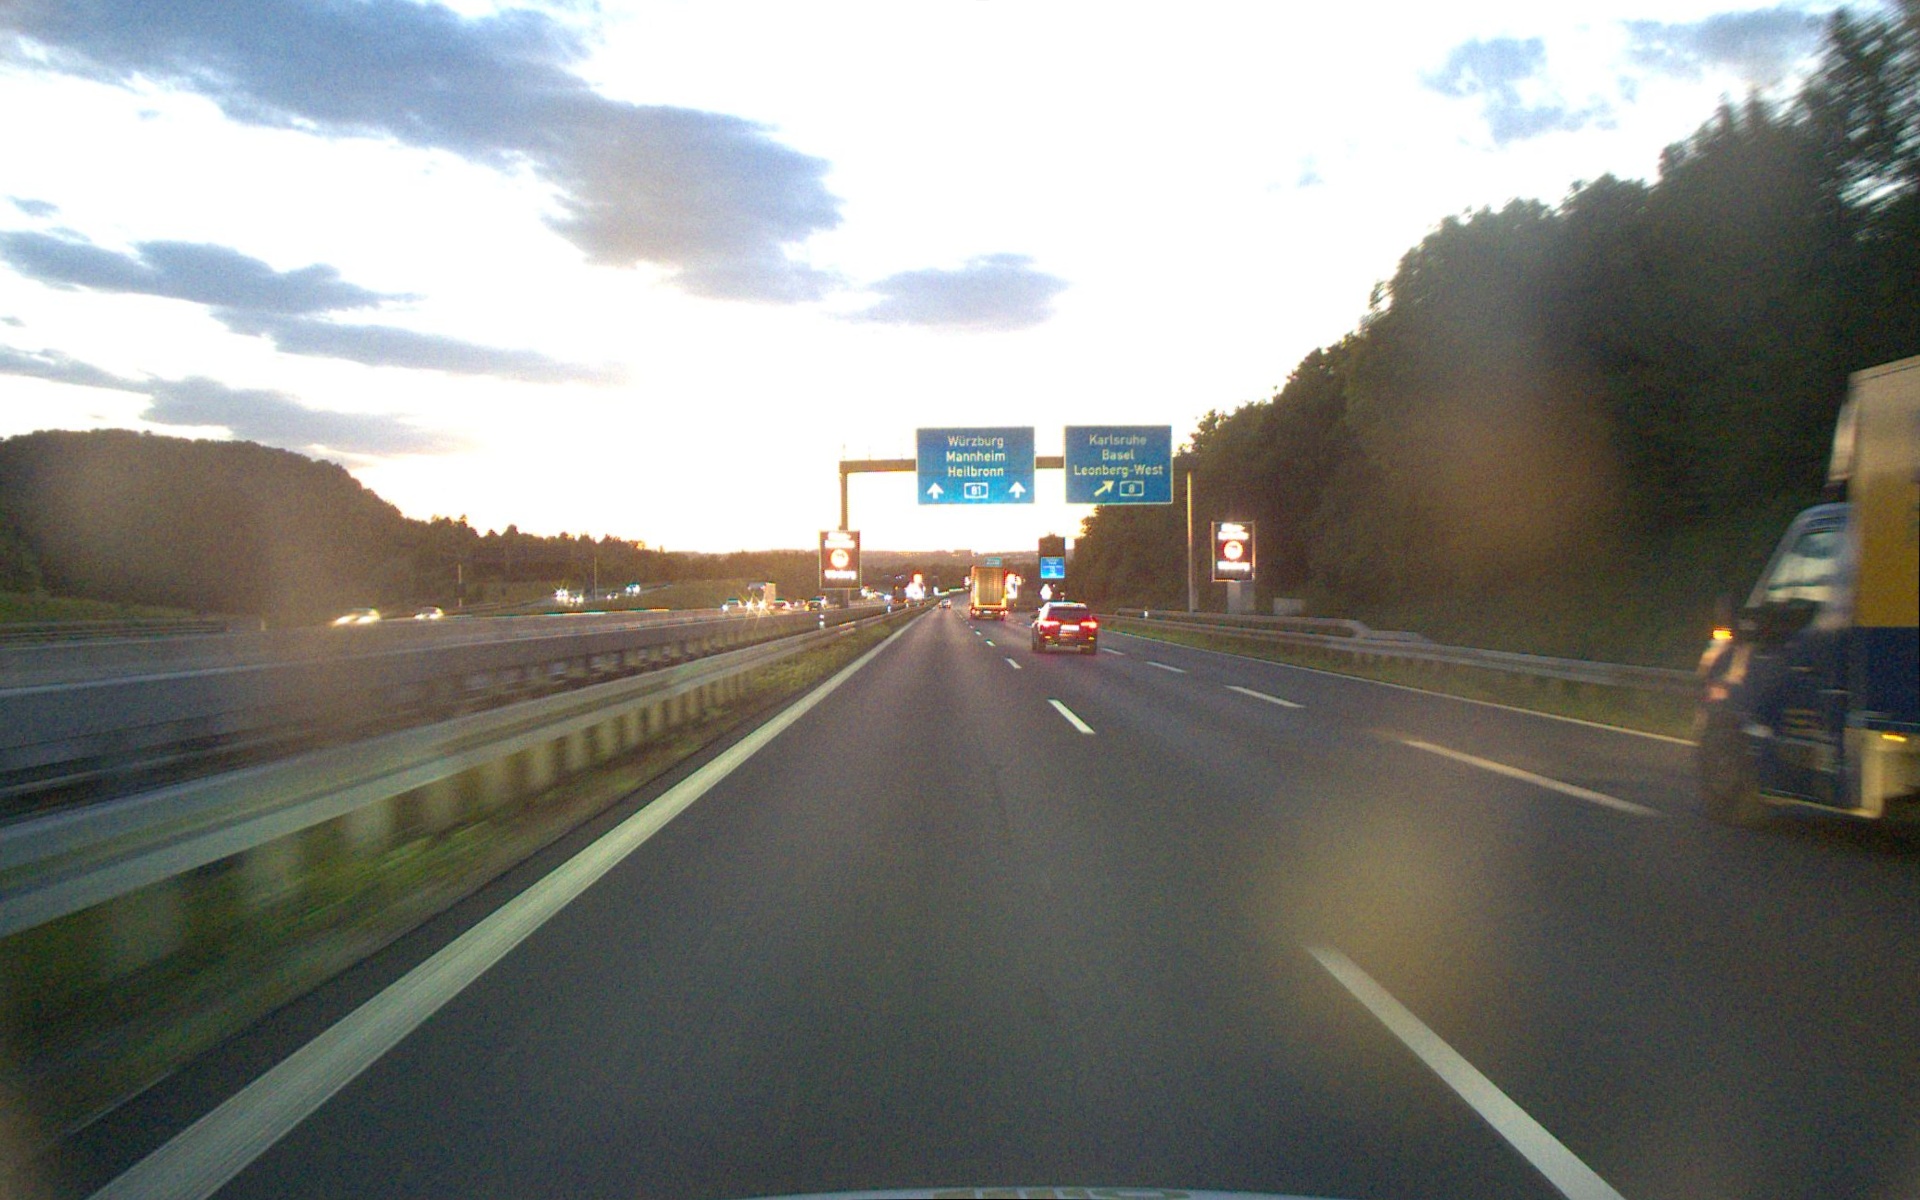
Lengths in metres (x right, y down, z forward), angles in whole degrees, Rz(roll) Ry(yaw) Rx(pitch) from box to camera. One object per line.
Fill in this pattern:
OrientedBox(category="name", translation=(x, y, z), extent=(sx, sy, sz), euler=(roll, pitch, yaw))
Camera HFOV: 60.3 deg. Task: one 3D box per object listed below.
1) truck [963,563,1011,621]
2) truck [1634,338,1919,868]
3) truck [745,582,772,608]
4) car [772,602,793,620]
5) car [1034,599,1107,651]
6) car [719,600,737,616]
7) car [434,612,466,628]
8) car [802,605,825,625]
OrientedBox(category="truck", translation=(2.067, -0.591, 131.394), extent=(3.438, 4.376, 9.889), euler=(-1, 0, -1))
OrientedBox(category="truck", translation=(6.580, 0.033, 9.793), extent=(2.223, 3.024, 6.629), euler=(1, 0, -2))
OrientedBox(category="truck", translation=(-29.934, -0.705, 245.838), extent=(3.242, 3.682, 5.496), euler=(-1, 0, -1))
OrientedBox(category="car", translation=(-16.266, 0.984, 151.601), extent=(1.604, 1.573, 3.394), euler=(-1, 0, 0))
OrientedBox(category="car", translation=(3.272, 0.735, 49.547), extent=(1.876, 1.467, 3.999), euler=(-1, 0, -1))
OrientedBox(category="car", translation=(-26.904, 0.915, 191.917), extent=(1.648, 1.736, 3.751), euler=(0, 0, -1))
OrientedBox(category="car", translation=(-43.958, 1.718, 142.566), extent=(1.732, 1.342, 3.891), euler=(-1, 0, -3))
OrientedBox(category="car", translation=(-12.668, 1.285, 143.526), extent=(1.678, 1.634, 3.721), euler=(-1, 0, -1))
